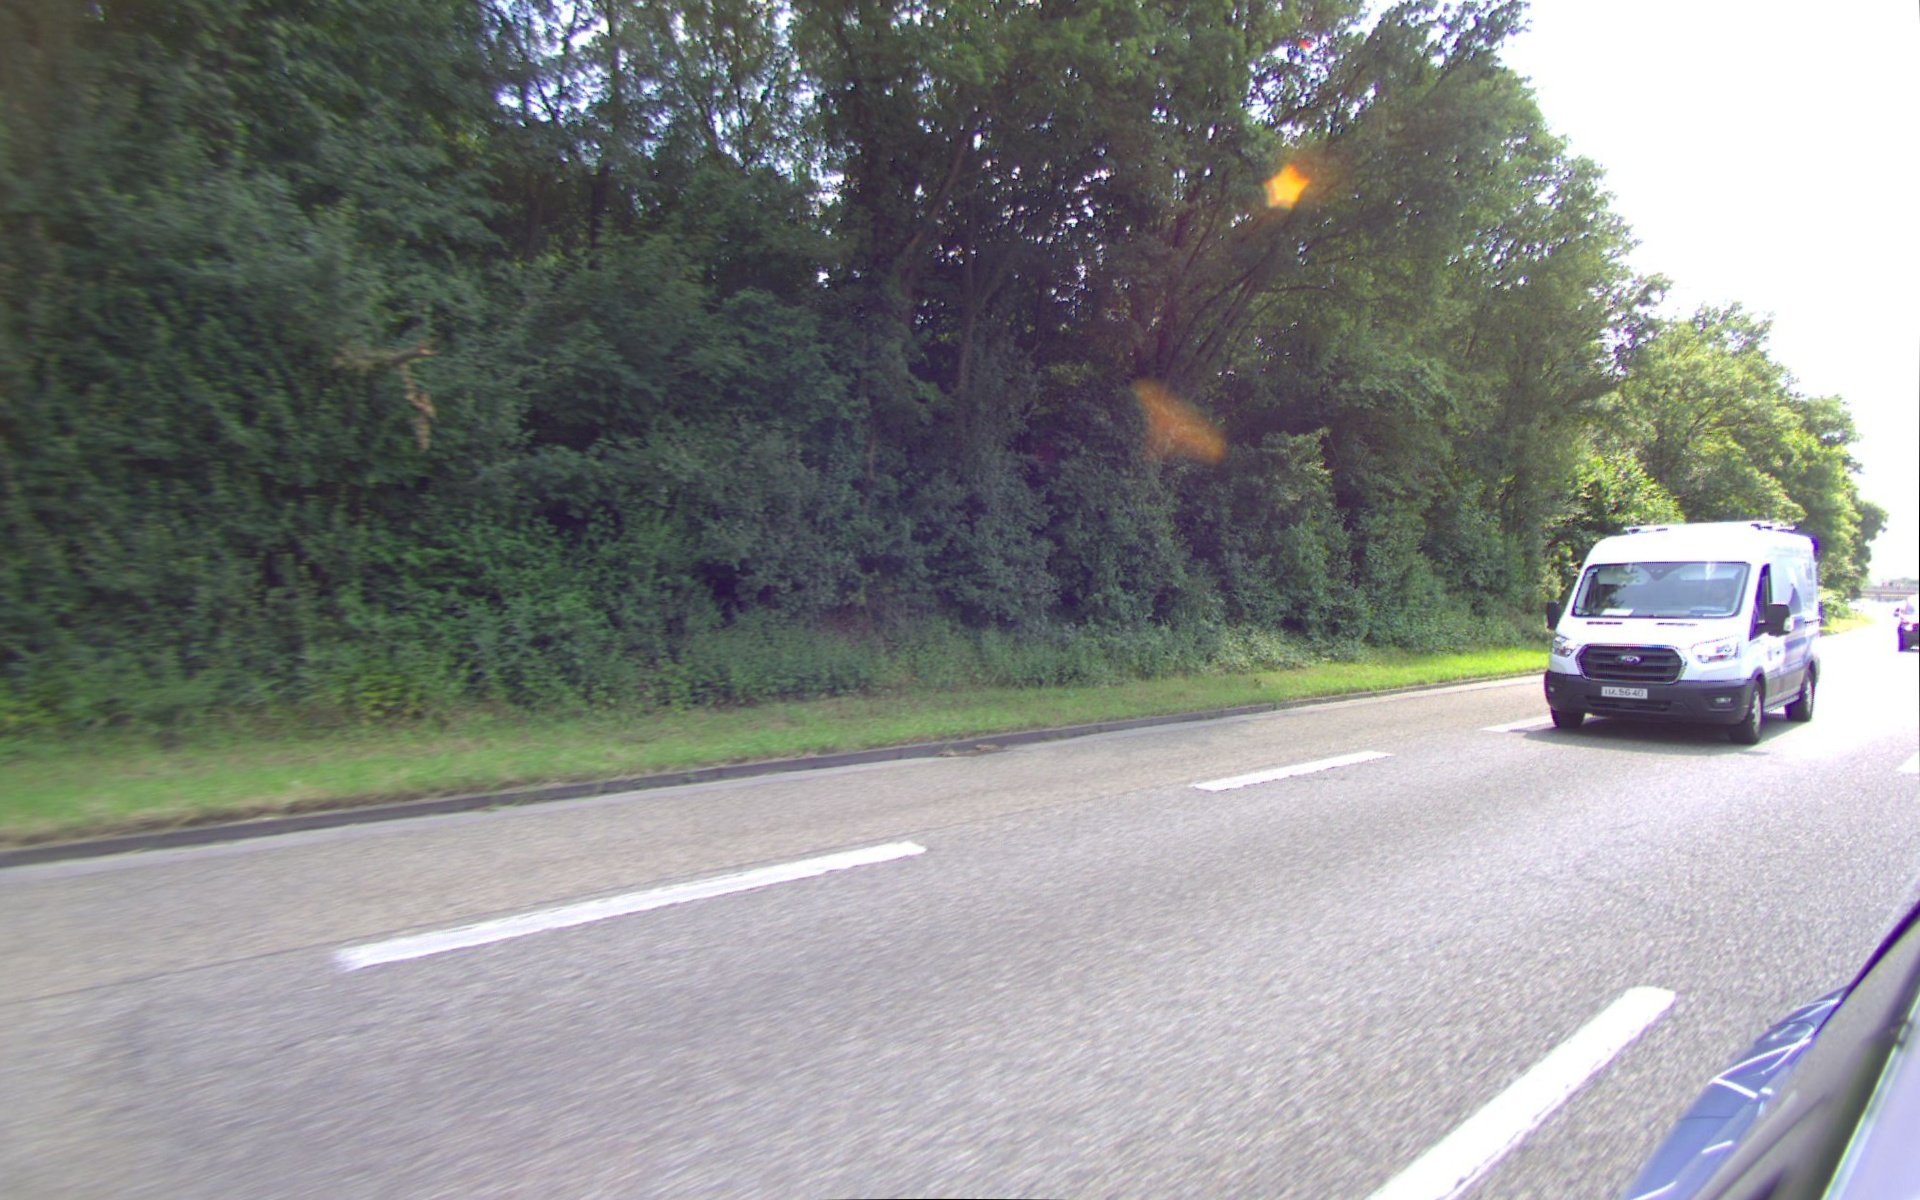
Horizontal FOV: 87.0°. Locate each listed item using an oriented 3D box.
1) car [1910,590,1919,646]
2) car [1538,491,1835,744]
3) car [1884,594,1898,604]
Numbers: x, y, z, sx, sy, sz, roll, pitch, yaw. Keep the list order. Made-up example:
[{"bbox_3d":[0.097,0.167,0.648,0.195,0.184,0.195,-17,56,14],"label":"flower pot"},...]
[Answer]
[{"bbox_3d":[33.303,0.572,33.844,4.320,1.828,1.906,0,-1,-42],"label":"car"},{"bbox_3d":[9.266,0.180,12.703,5.191,2.539,2.100,0,-1,-44],"label":"car"},{"bbox_3d":[162.099,-0.171,176.201,1.780,1.540,3.940,2,1,42],"label":"car"}]
